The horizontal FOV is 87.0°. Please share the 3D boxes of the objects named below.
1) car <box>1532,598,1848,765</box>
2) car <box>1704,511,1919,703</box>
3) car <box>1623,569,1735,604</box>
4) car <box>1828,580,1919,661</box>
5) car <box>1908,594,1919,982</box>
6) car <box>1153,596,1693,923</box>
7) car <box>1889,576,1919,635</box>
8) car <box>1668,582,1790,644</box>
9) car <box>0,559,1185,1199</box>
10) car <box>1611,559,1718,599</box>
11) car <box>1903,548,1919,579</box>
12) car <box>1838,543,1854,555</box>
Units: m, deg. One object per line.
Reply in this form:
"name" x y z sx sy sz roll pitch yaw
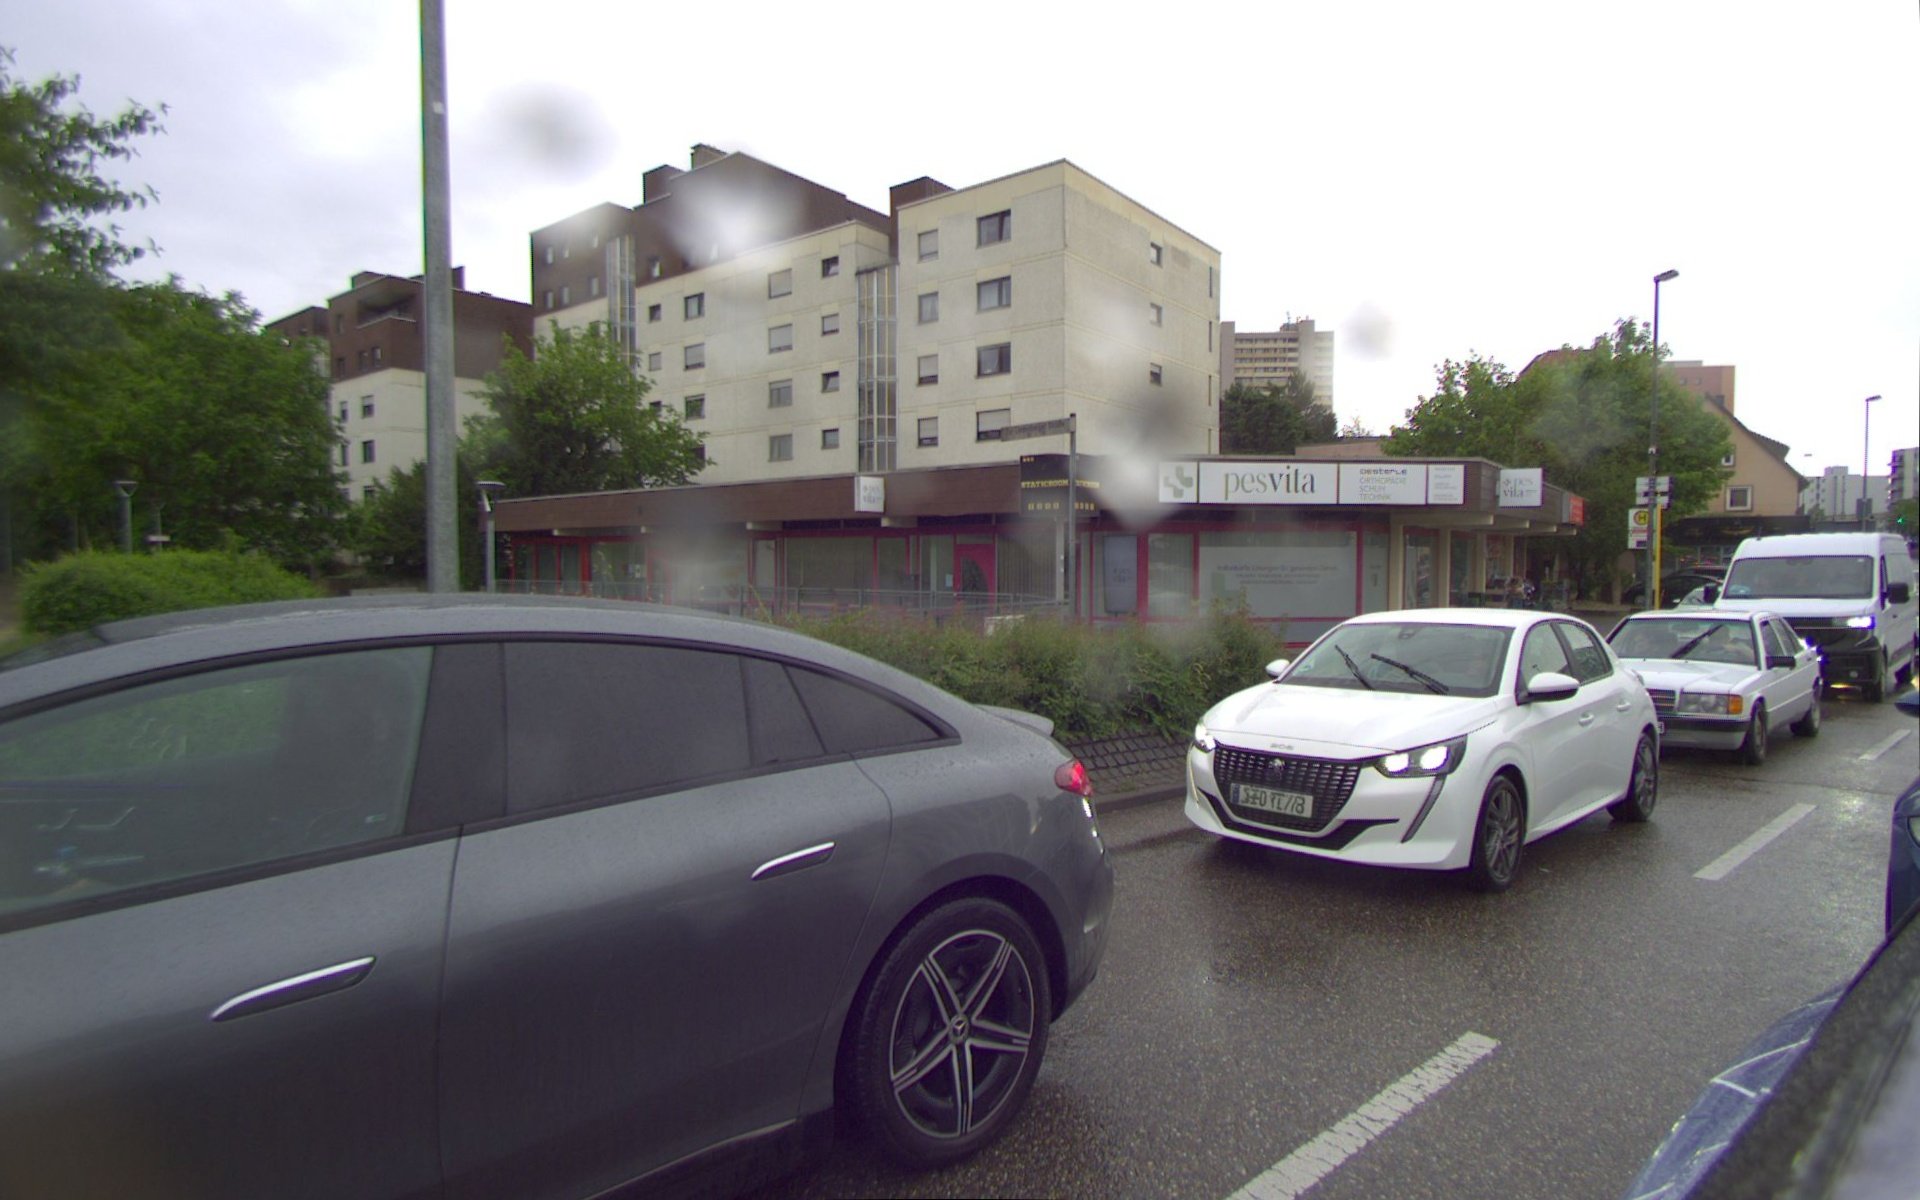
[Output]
"car" 7.767 0.693 10.626 4.089 1.362 1.787 -1 1 -41
"car" 14.003 0.012 16.335 6.021 2.549 2.194 -2 2 -43
"car" 32.136 -0.632 45.260 3.981 1.445 1.858 2 2 39
"car" 20.048 0.369 21.550 3.930 1.558 1.802 -1 2 -41
"car" 5.464 0.675 4.415 3.933 1.406 1.690 -1 1 -43
"car" 3.178 0.713 6.541 4.043 1.433 1.665 -1 1 -41
"car" 28.016 0.114 28.831 3.933 1.588 1.996 -2 1 -43
"car" 20.263 0.295 26.623 3.930 1.509 1.787 -1 1 -41
"car" -1.642 0.691 2.395 4.724 1.485 1.840 0 -1 -41
"car" 33.134 -1.010 47.638 3.981 1.801 1.858 2 2 39
"car" 57.831 -2.147 60.307 3.930 1.776 1.879 0 3 -41
"car" 139.492 -8.013 159.388 1.657 1.654 3.754 1 1 37
